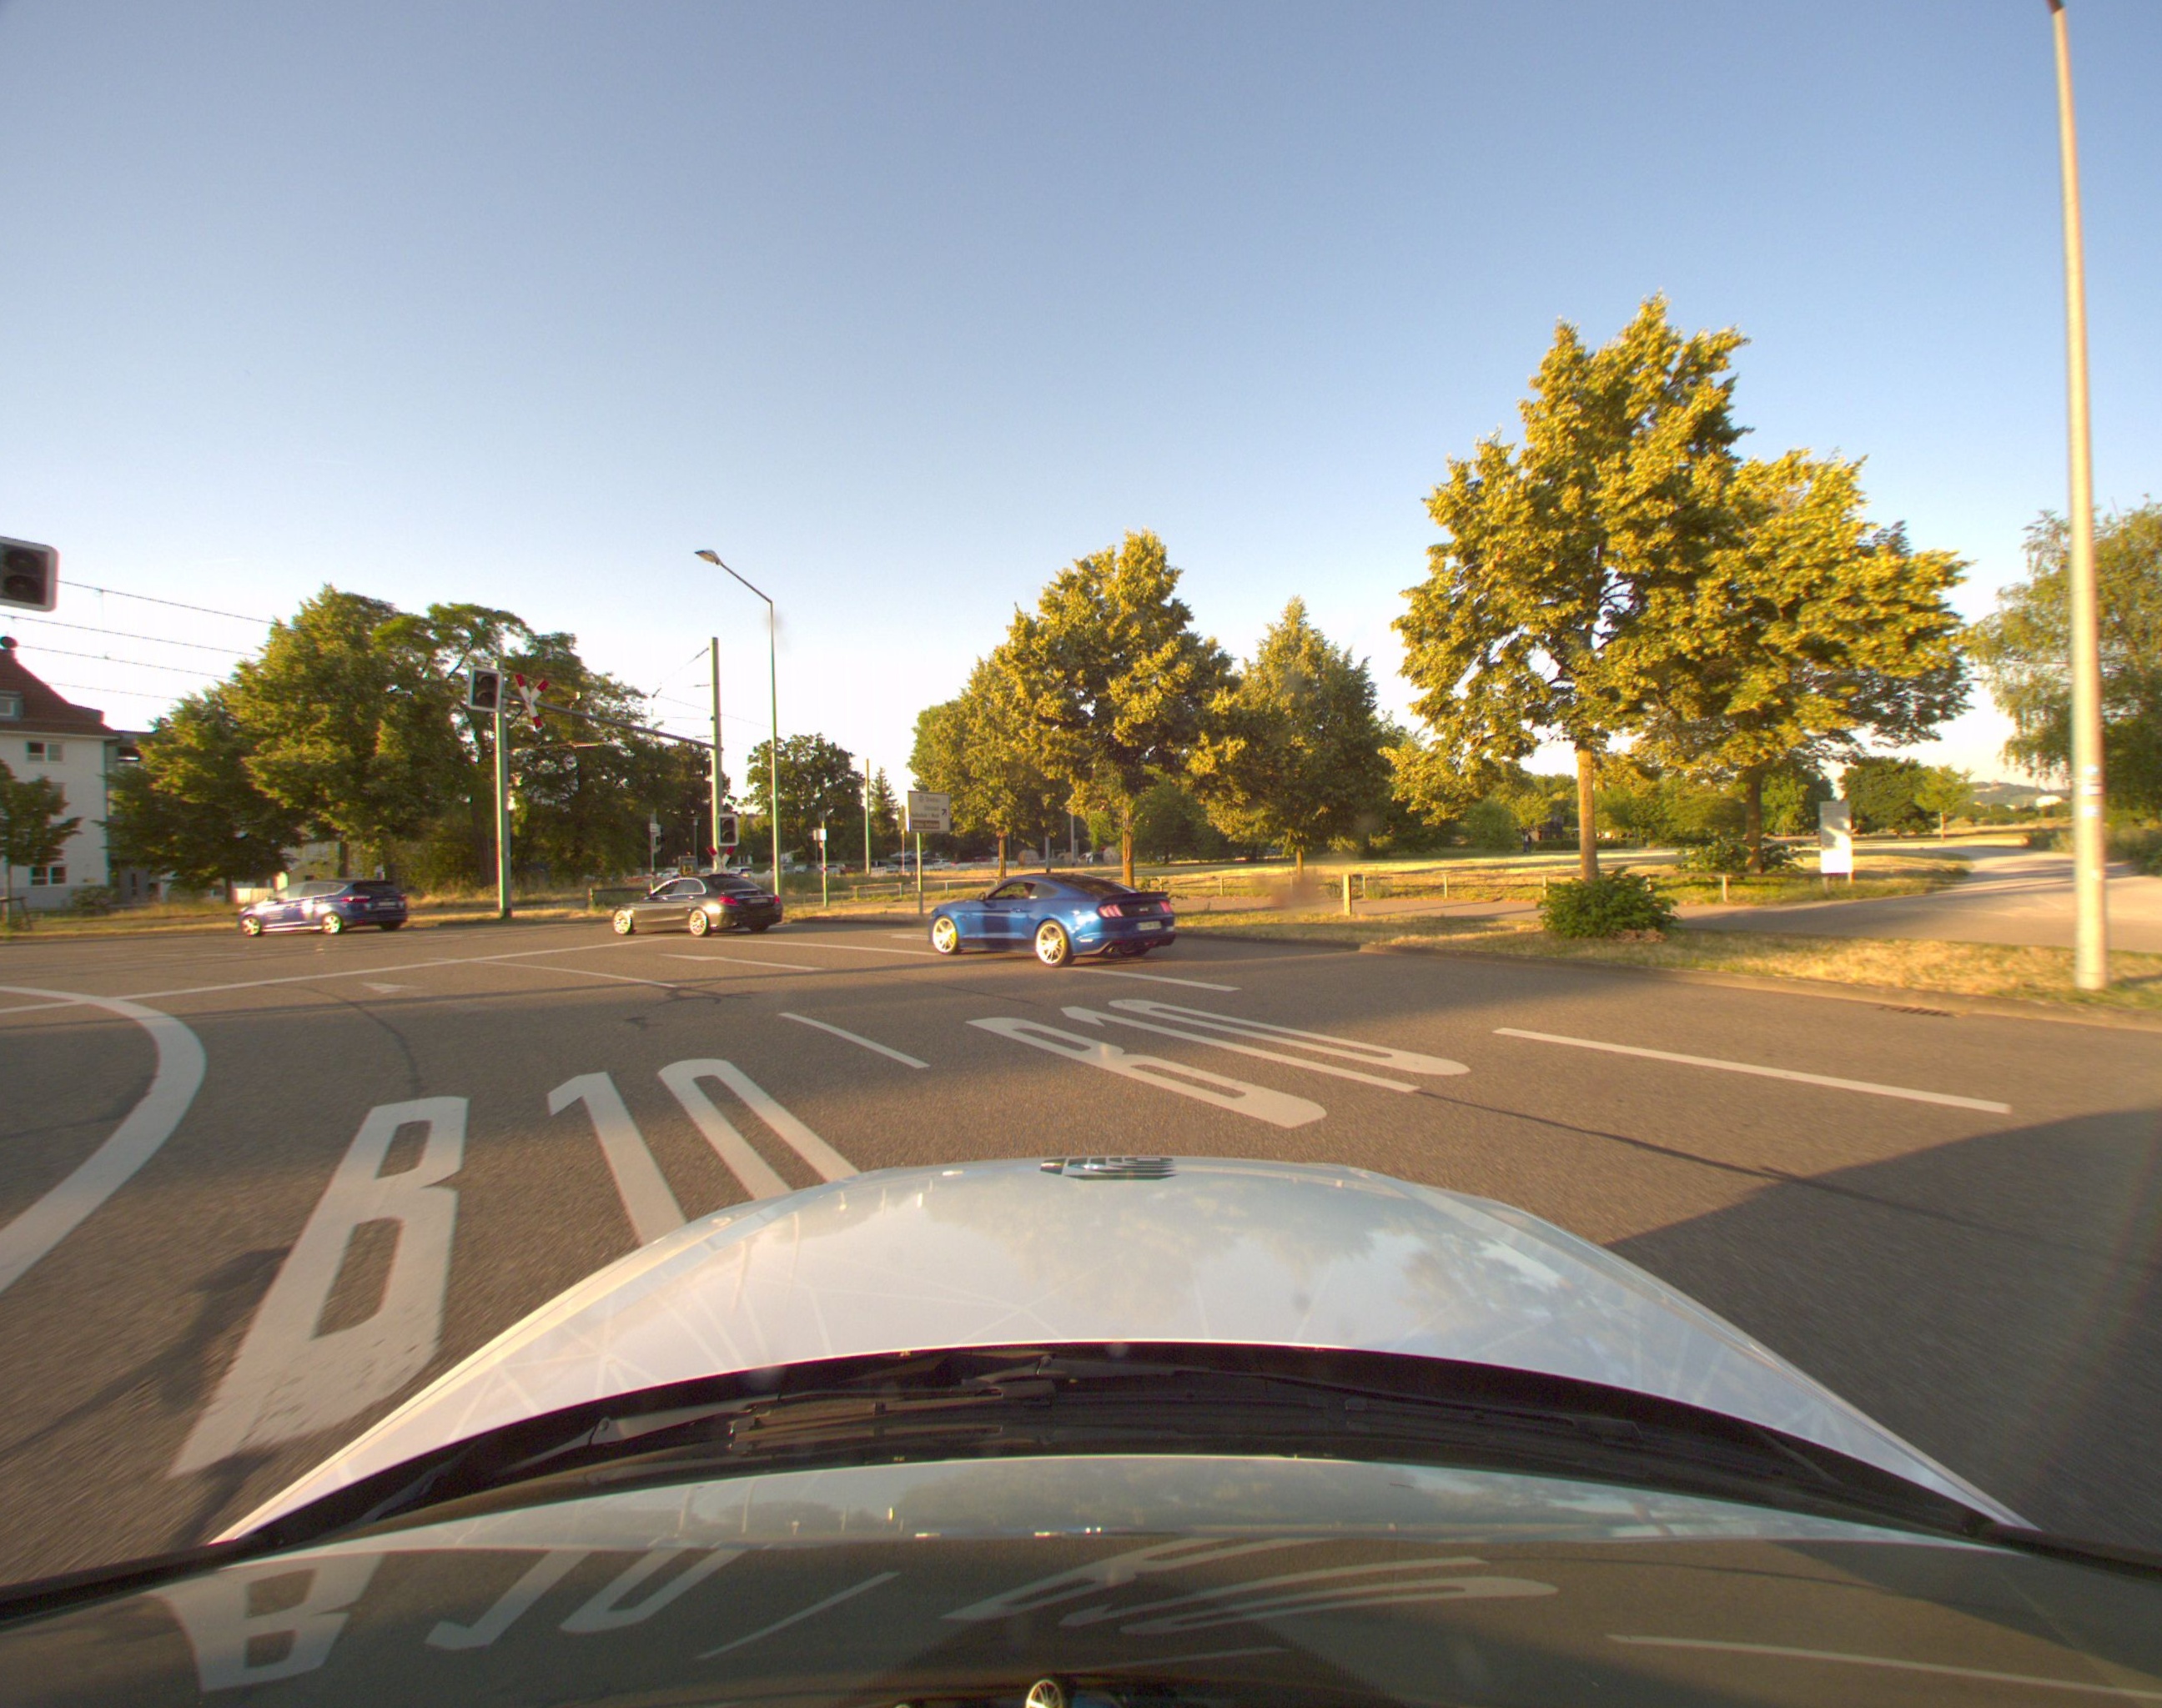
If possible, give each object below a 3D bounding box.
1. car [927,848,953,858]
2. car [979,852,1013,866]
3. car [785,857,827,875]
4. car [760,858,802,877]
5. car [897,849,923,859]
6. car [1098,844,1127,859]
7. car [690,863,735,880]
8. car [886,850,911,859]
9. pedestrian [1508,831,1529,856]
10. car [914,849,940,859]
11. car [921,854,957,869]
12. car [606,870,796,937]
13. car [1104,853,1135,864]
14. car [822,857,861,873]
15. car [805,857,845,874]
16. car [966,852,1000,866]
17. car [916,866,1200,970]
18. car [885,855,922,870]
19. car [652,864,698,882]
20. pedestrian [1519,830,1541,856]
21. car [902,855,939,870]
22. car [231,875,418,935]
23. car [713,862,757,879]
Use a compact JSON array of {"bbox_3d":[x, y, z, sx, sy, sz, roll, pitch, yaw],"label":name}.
[{"bbox_3d":[-23.792,-0.188,137.767,1.974,1.744,4.025,-1,-1,38],"label":"car"},{"bbox_3d":[-10.935,0.643,104.306,3.948,1.553,1.916,-2,0,35],"label":"car"},{"bbox_3d":[-28.083,1.240,83.140,3.948,1.662,1.965,-2,0,35],"label":"car"},{"bbox_3d":[-30.019,1.351,81.415,3.948,1.662,1.965,-2,0,35],"label":"car"},{"bbox_3d":[-29.882,0.038,142.190,1.879,1.553,4.026,-2,0,39],"label":"car"},{"bbox_3d":[4.744,-0.345,123.651,3.948,2.095,1.916,-2,0,35],"label":"car"},{"bbox_3d":[-34.056,1.627,75.282,3.948,1.445,1.965,-2,0,35],"label":"car"},{"bbox_3d":[-32.406,0.052,144.540,1.879,1.553,4.026,-2,0,39],"label":"car"},{"bbox_3d":[33.029,-0.805,61.470,1.106,1.863,0.904,-2,0,-24],"label":"pedestrian"},{"bbox_3d":[-26.305,-0.055,139.460,1.879,1.553,4.026,-2,0,39],"label":"car"},{"bbox_3d":[-16.813,0.901,96.579,3.948,1.553,1.916,-2,0,35],"label":"car"},{"bbox_3d":[-9.234,1.145,19.744,4.373,1.427,1.970,-1,-1,29],"label":"car"},{"bbox_3d":[4.974,0.597,105.758,3.565,1.482,1.722,-1,-1,32],"label":"car"},{"bbox_3d":[-25.597,1.186,87.112,3.948,1.553,1.916,-2,0,35],"label":"car"},{"bbox_3d":[-26.727,1.180,84.927,3.948,1.662,1.965,-2,0,35],"label":"car"},{"bbox_3d":[-12.326,0.669,102.240,3.948,1.553,1.916,-2,0,35],"label":"car"},{"bbox_3d":[-0.535,0.905,13.135,1.969,1.342,4.613,0,-1,-44],"label":"car"},{"bbox_3d":[-20.157,0.984,92.448,3.948,1.553,1.916,-2,0,35],"label":"car"},{"bbox_3d":[-36.335,1.714,72.914,3.948,1.445,1.965,-2,0,35],"label":"car"},{"bbox_3d":[33.108,-0.818,60.032,1.106,1.863,0.904,-2,0,-24],"label":"pedestrian"},{"bbox_3d":[-18.614,0.948,94.404,3.948,1.553,1.916,-2,0,35],"label":"car"},{"bbox_3d":[-22.084,1.471,23.849,4.038,1.602,1.964,-2,-1,11],"label":"car"},{"bbox_3d":[-32.678,1.595,76.825,3.948,1.445,1.965,-2,0,35],"label":"car"}]
